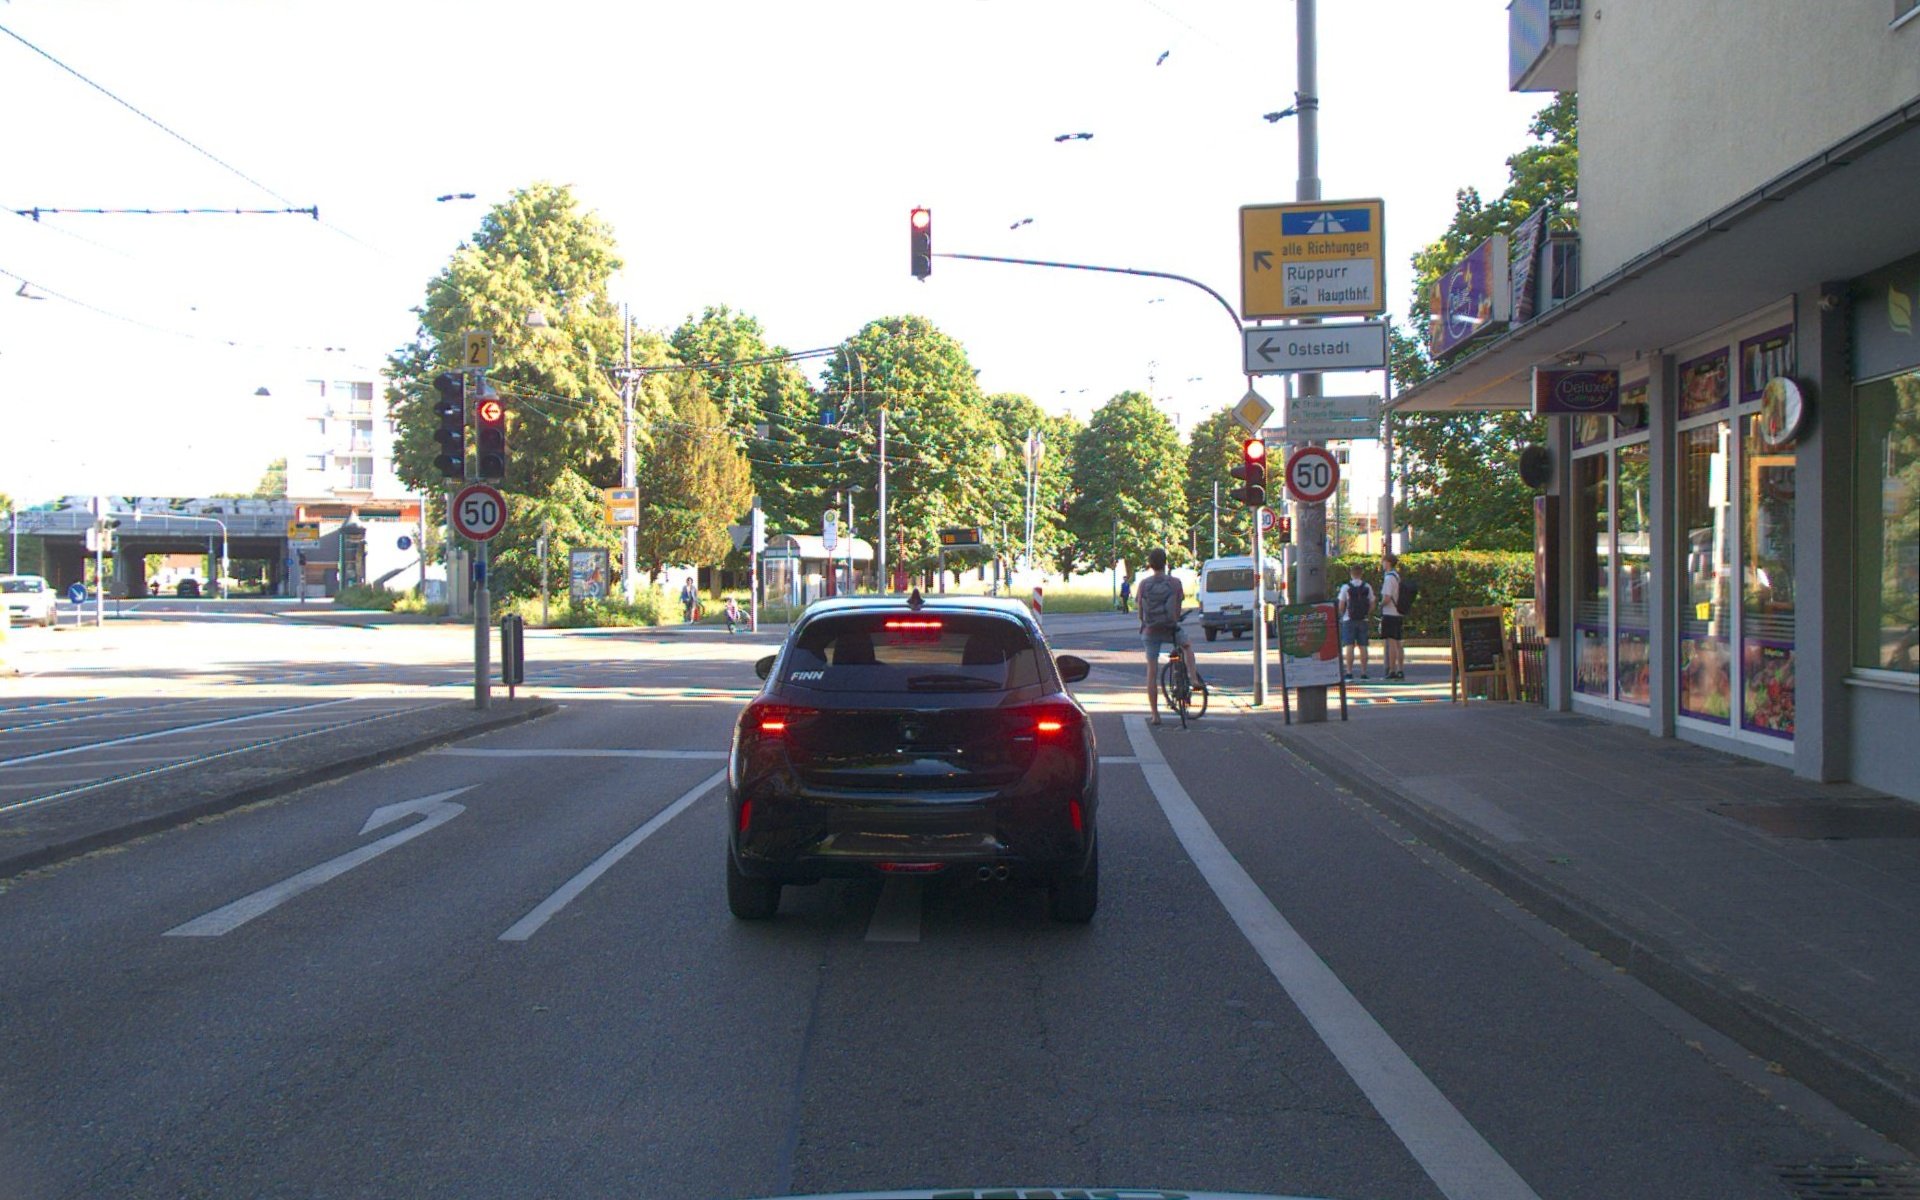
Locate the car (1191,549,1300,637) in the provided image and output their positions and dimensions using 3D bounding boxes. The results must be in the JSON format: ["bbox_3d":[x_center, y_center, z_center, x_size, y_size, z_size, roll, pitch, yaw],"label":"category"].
[{"bbox_3d":[8.027,-0.177,46.143,2.047,2.317,4.304,1,0,23],"label":"car"}]

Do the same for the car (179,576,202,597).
[{"bbox_3d":[-78.844,-1.403,169.450,1.970,2.049,3.965,1,0,-27],"label":"car"}]

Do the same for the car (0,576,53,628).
[{"bbox_3d":[-31.525,0.027,55.142,1.975,1.660,4.579,-1,1,-32],"label":"car"}]

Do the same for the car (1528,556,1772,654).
[{"bbox_3d":[13.523,0.126,32.635,4.087,1.846,1.807,0,-2,8],"label":"car"}]

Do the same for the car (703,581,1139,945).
[{"bbox_3d":[-0.131,0.641,8.693,1.763,1.466,3.940,0,1,1],"label":"car"}]

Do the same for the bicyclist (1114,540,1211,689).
[{"bbox_3d":[2.156,0.145,17.763,0.823,1.536,1.368,0,0,-3],"label":"bicyclist"}]

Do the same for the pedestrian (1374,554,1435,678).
[{"bbox_3d":[6.885,0.235,25.617,0.691,1.878,0.697,0,0,39],"label":"pedestrian"}]

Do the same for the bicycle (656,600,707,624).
[{"bbox_3d":[-10.715,0.459,63.666,1.837,0.922,0.660,0,0,6],"label":"bicycle"}]

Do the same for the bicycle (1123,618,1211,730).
[{"bbox_3d":[2.193,0.757,17.765,0.653,1.078,2.082,0,1,-1],"label":"bicycle"}]

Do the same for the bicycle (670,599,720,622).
[{"bbox_3d":[-10.502,0.409,65.525,1.837,0.922,0.660,0,0,6],"label":"bicycle"}]

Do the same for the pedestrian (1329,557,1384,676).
[{"bbox_3d":[6.122,0.250,25.580,0.684,1.823,0.617,0,0,-1],"label":"pedestrian"}]

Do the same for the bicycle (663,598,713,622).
[{"bbox_3d":[-10.635,0.403,64.652,1.837,0.922,0.660,0,0,6],"label":"bicycle"}]

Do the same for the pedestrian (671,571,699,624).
[{"bbox_3d":[-9.082,-0.079,54.626,0.692,1.722,0.720,-1,0,-33],"label":"pedestrian"}]

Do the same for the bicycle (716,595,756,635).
[{"bbox_3d":[-6.287,0.403,46.527,0.808,1.078,1.883,0,1,2],"label":"bicycle"}]

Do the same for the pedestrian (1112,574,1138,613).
[{"bbox_3d":[7.753,-0.306,77.610,0.939,1.824,0.995,0,0,25],"label":"pedestrian"}]
